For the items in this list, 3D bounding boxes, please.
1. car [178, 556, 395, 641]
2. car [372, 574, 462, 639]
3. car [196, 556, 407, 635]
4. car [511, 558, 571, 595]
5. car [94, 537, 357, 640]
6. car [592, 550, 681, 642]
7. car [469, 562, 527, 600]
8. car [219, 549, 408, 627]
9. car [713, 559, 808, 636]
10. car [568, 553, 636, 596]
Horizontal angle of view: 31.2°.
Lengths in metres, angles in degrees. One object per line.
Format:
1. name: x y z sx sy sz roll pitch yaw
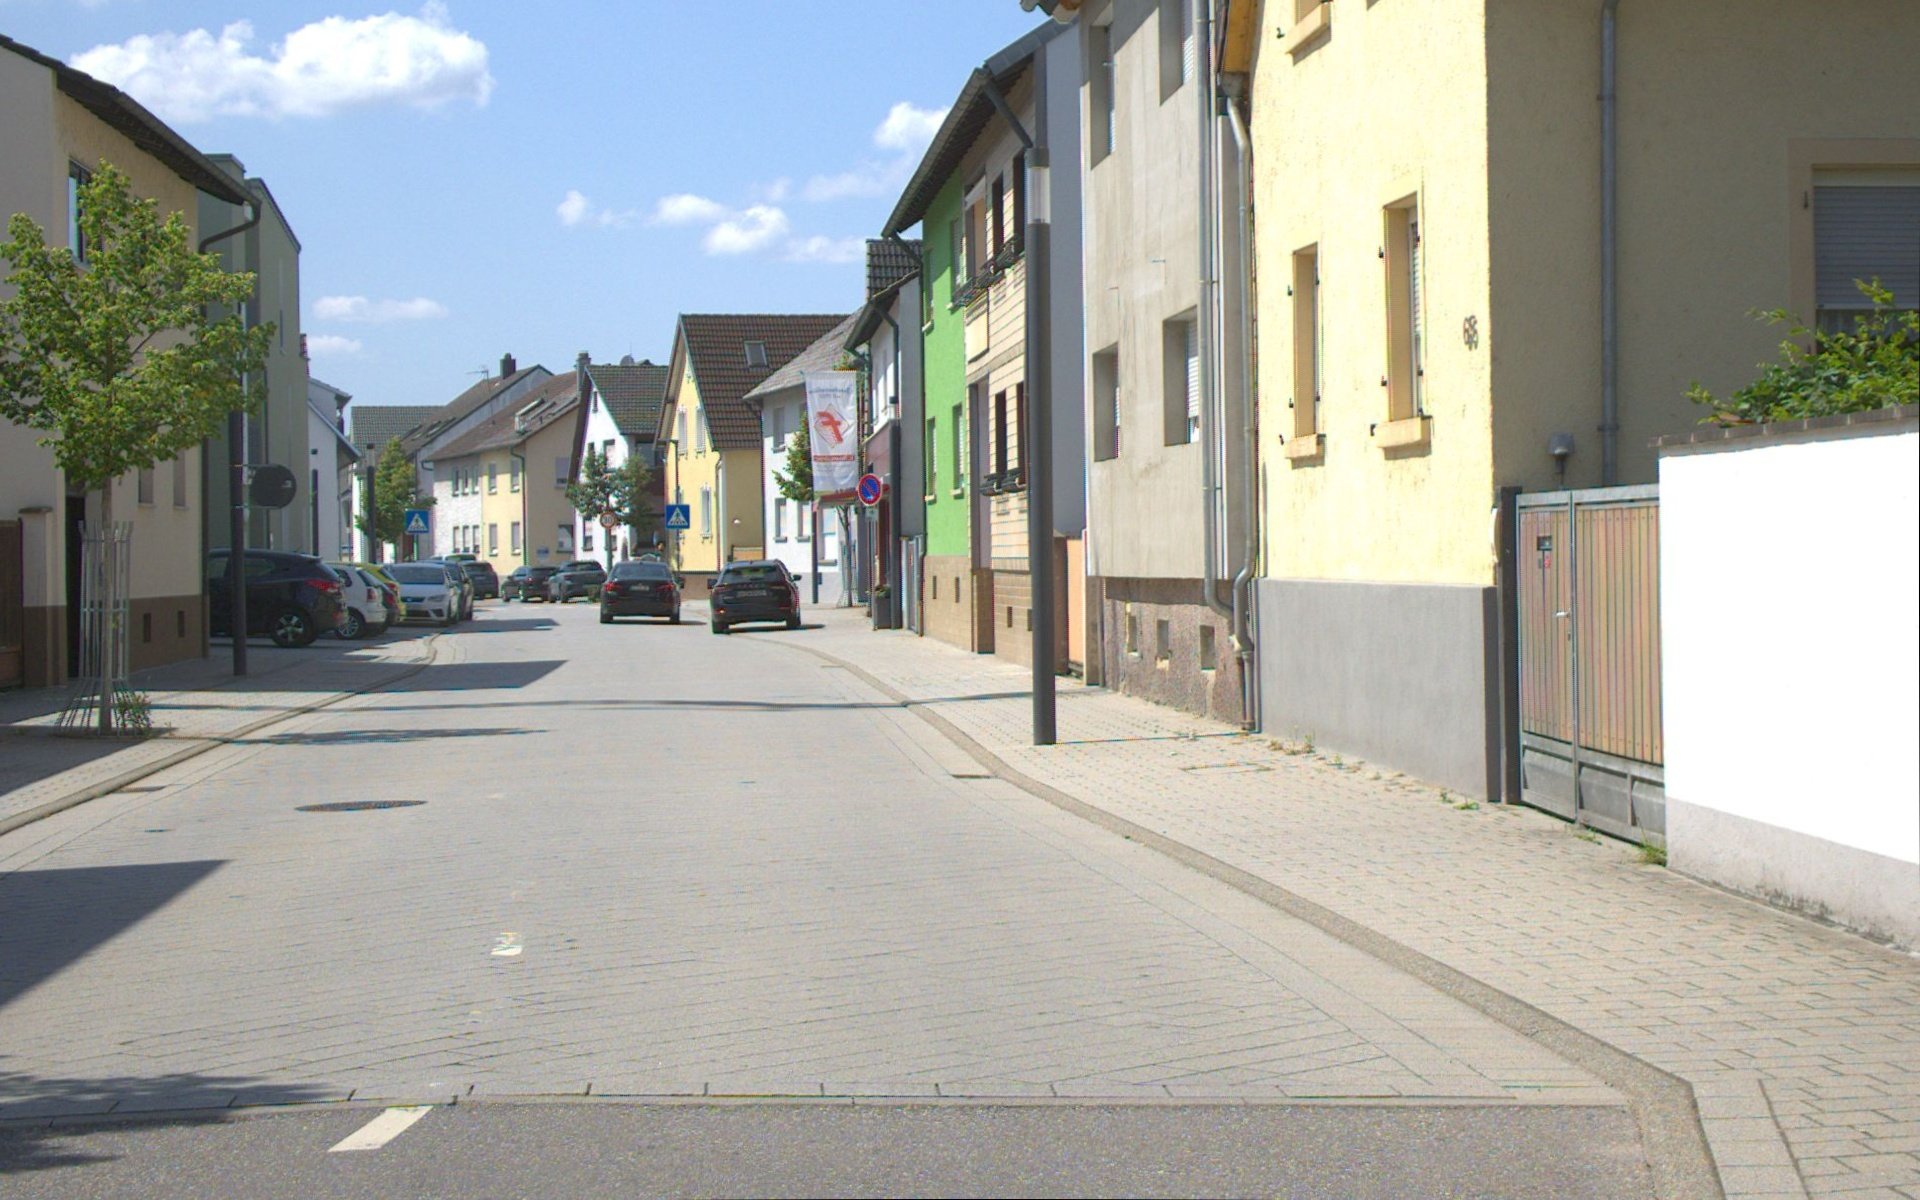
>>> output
1. car: -13.119 -0.043 67.148 3.900 1.497 1.751 2 1 -3
2. car: -12.700 0.130 80.612 1.757 1.406 3.878 1 1 -4
3. car: -13.275 -0.093 69.477 3.986 1.437 1.691 2 1 -4
4. car: -16.534 -0.929 135.546 1.710 1.382 3.707 -1 1 -16
5. car: -12.637 -0.205 59.319 4.218 1.653 1.785 1 1 -5
6. car: -7.616 -0.120 81.018 1.993 2.051 4.375 -1 1 -5
7. car: -20.039 -0.843 148.894 1.877 1.586 4.001 -1 1 -16
8. car: -13.591 -0.254 72.371 3.691 1.520 1.673 2 1 -3
9. car: -4.154 -0.078 71.995 1.858 1.454 4.586 -3 1 -3
10. car: -13.364 -0.966 128.283 1.846 1.557 3.695 -1 1 -16
